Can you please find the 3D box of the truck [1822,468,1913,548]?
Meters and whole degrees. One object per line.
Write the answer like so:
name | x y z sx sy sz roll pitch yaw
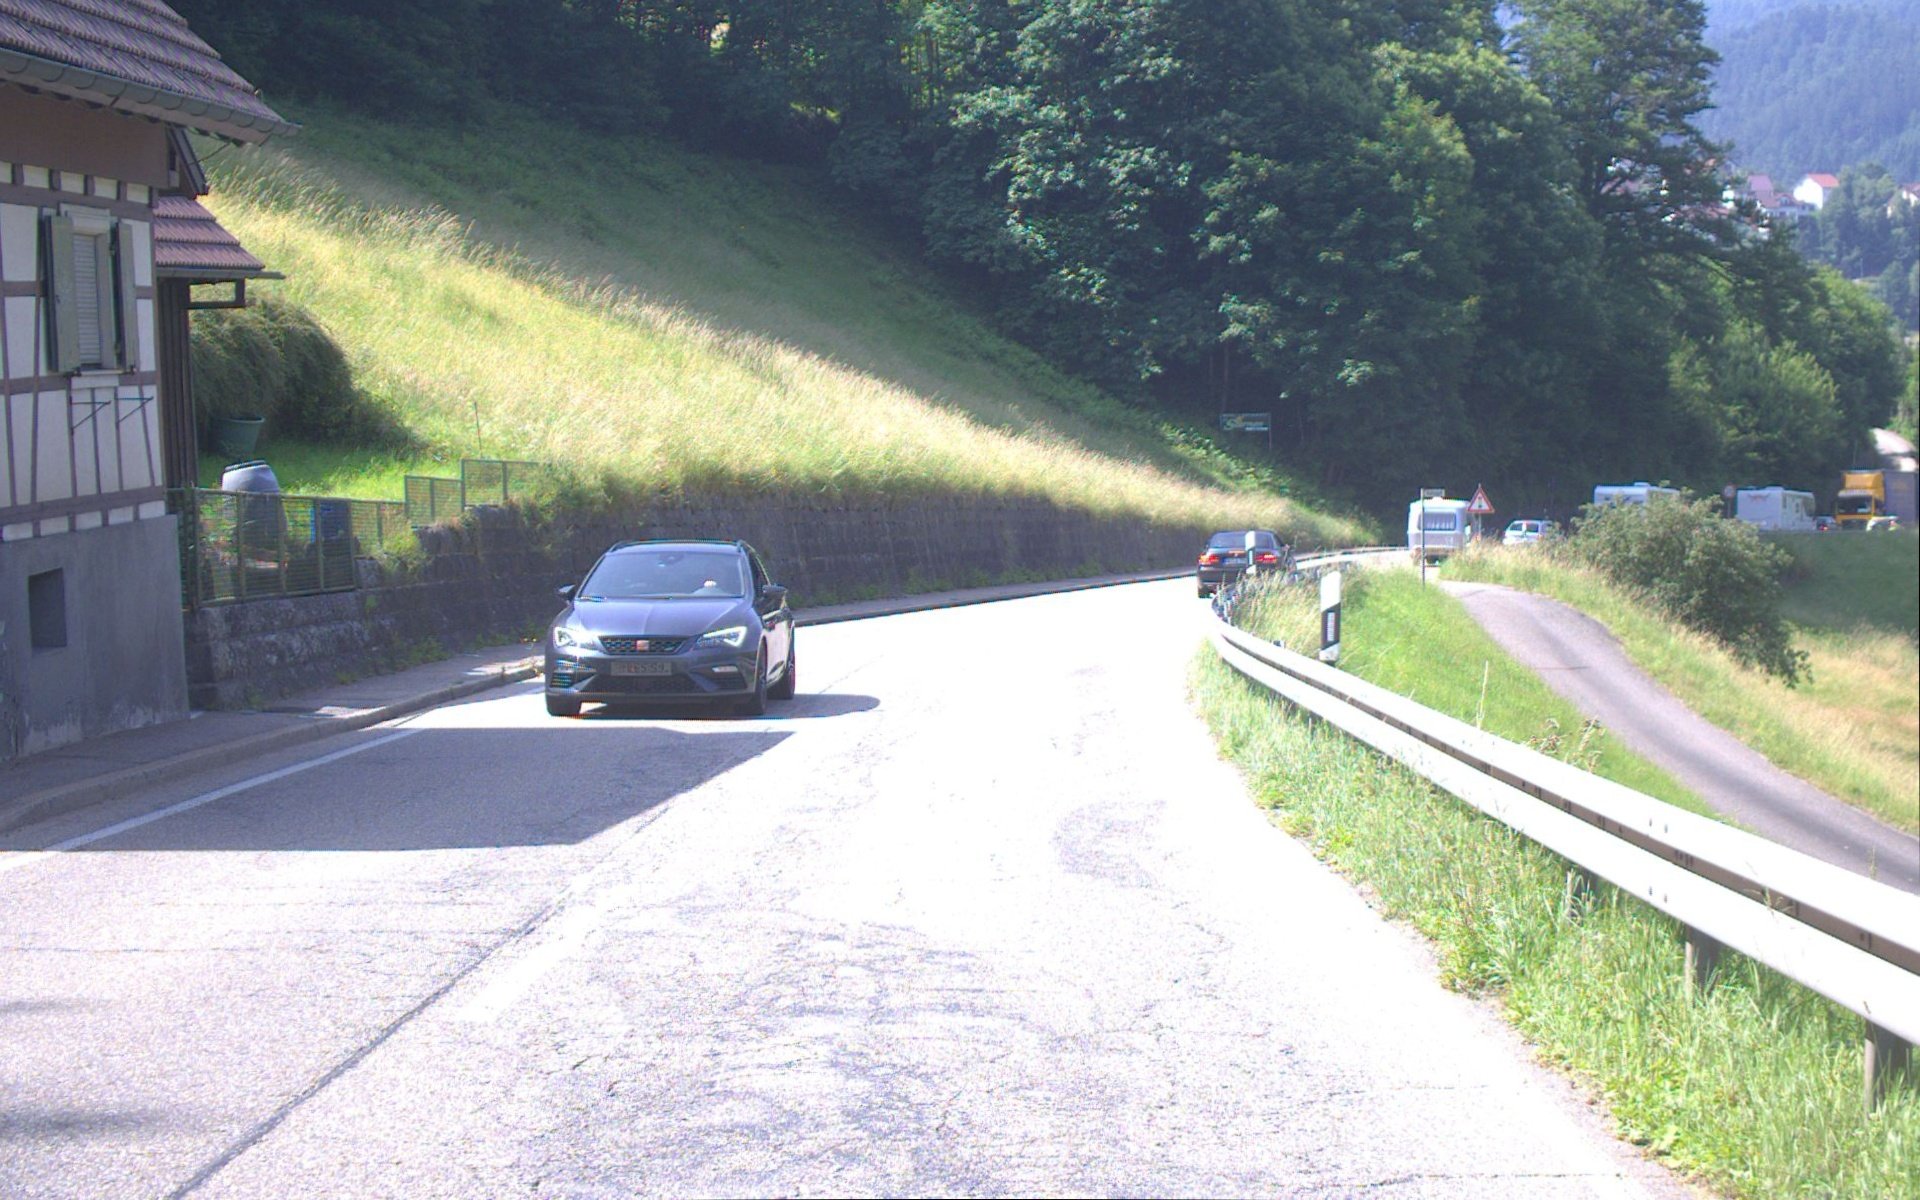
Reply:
truck | 51.859 -5.280 196.439 3.194 4.381 6.560 3 3 31

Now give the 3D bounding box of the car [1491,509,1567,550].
car | 21.992 -2.742 132.824 1.996 1.479 3.996 4 3 22

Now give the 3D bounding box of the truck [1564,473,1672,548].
truck | 28.107 -3.861 146.658 2.795 2.987 6.859 4 3 25

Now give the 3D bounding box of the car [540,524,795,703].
car | -2.435 0.065 29.504 1.765 1.391 4.145 0 2 1

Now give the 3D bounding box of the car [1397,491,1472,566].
car | 15.940 -2.433 115.268 1.995 2.344 4.912 2 3 13

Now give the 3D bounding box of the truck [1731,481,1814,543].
truck | 39.295 -4.250 166.117 2.241 2.794 6.222 3 1 29

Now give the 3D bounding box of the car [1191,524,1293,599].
car | 5.728 -0.792 69.517 1.772 1.331 3.766 1 3 9
